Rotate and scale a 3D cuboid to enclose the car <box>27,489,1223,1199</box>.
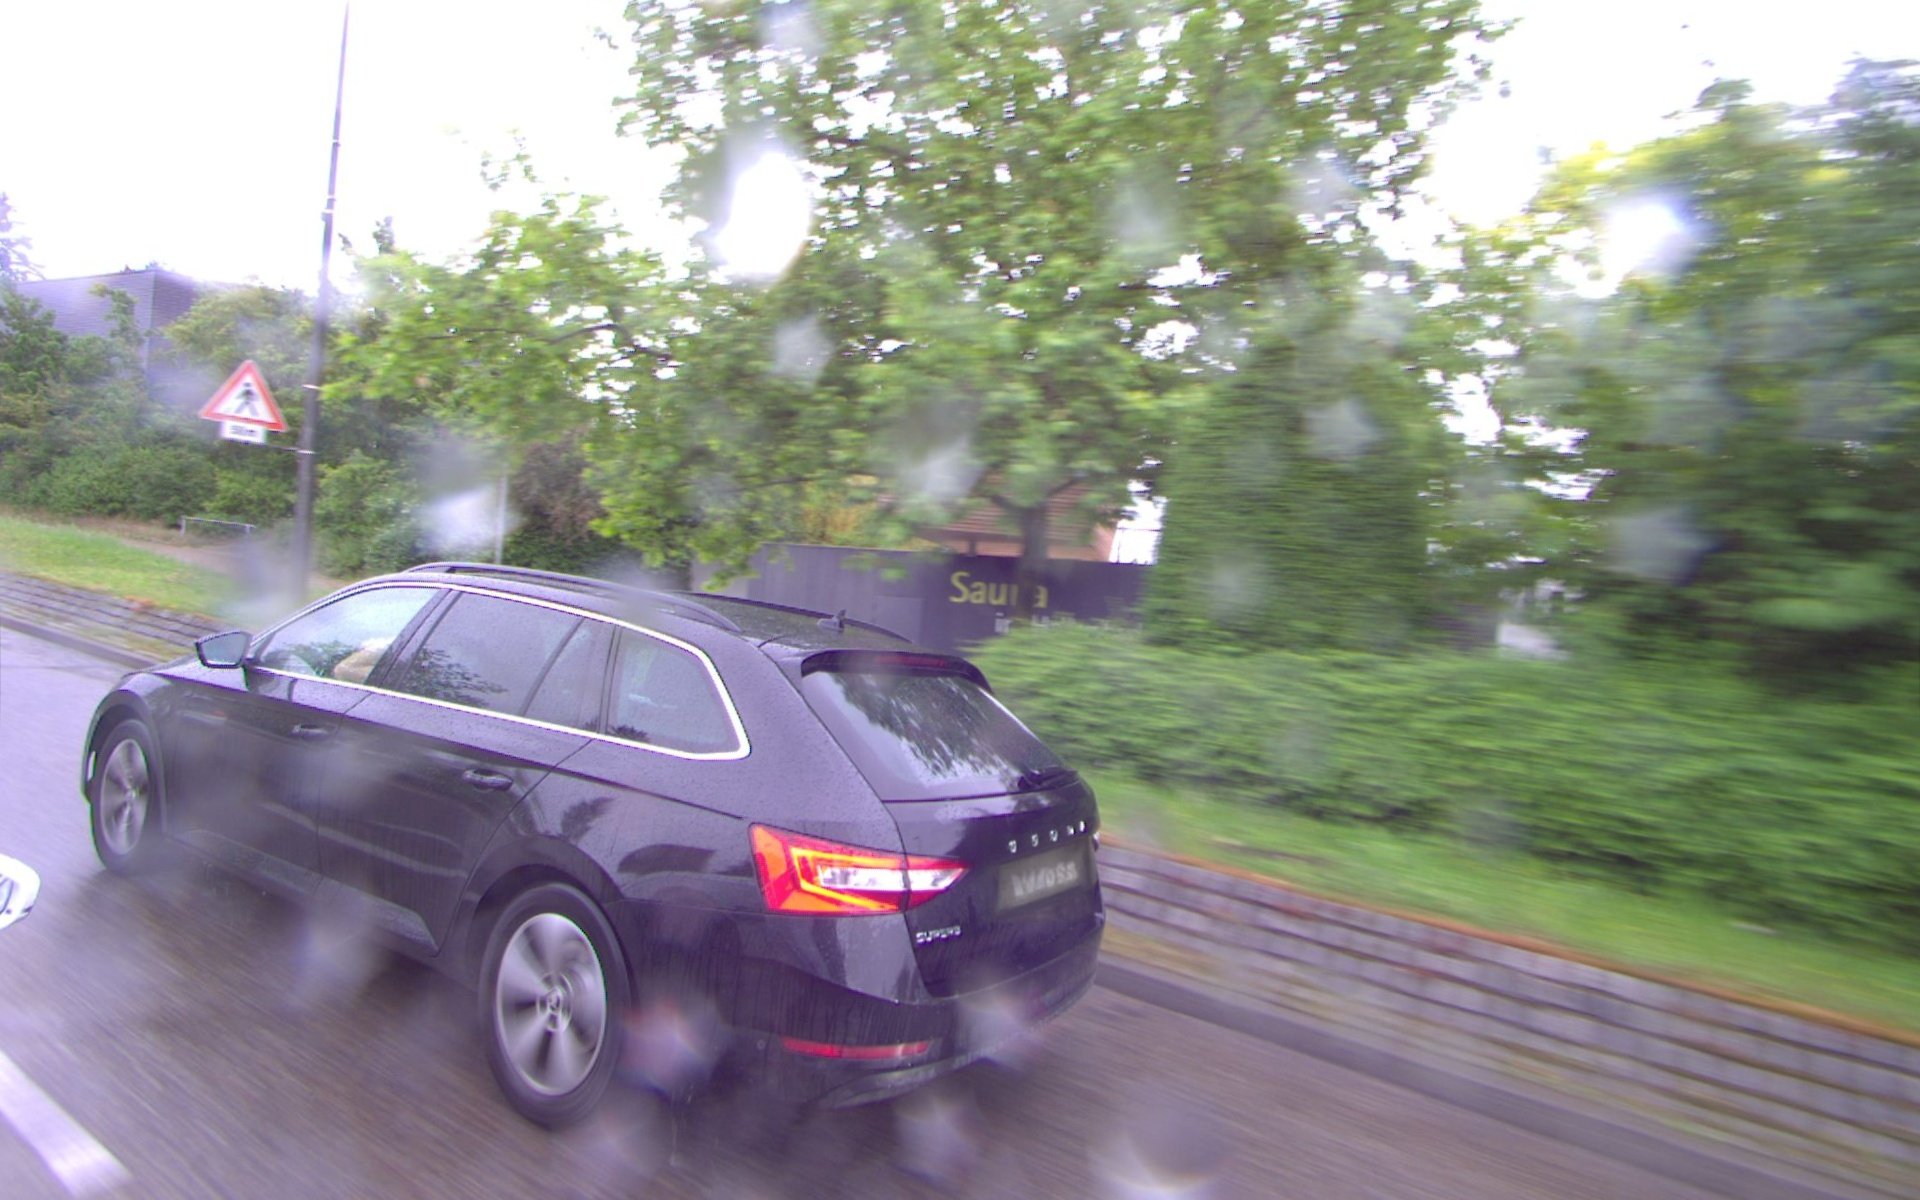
[{"bbox_3d":[-1.537,0.580,4.036,4.532,1.523,1.959,6,-4,32],"label":"car"}]
